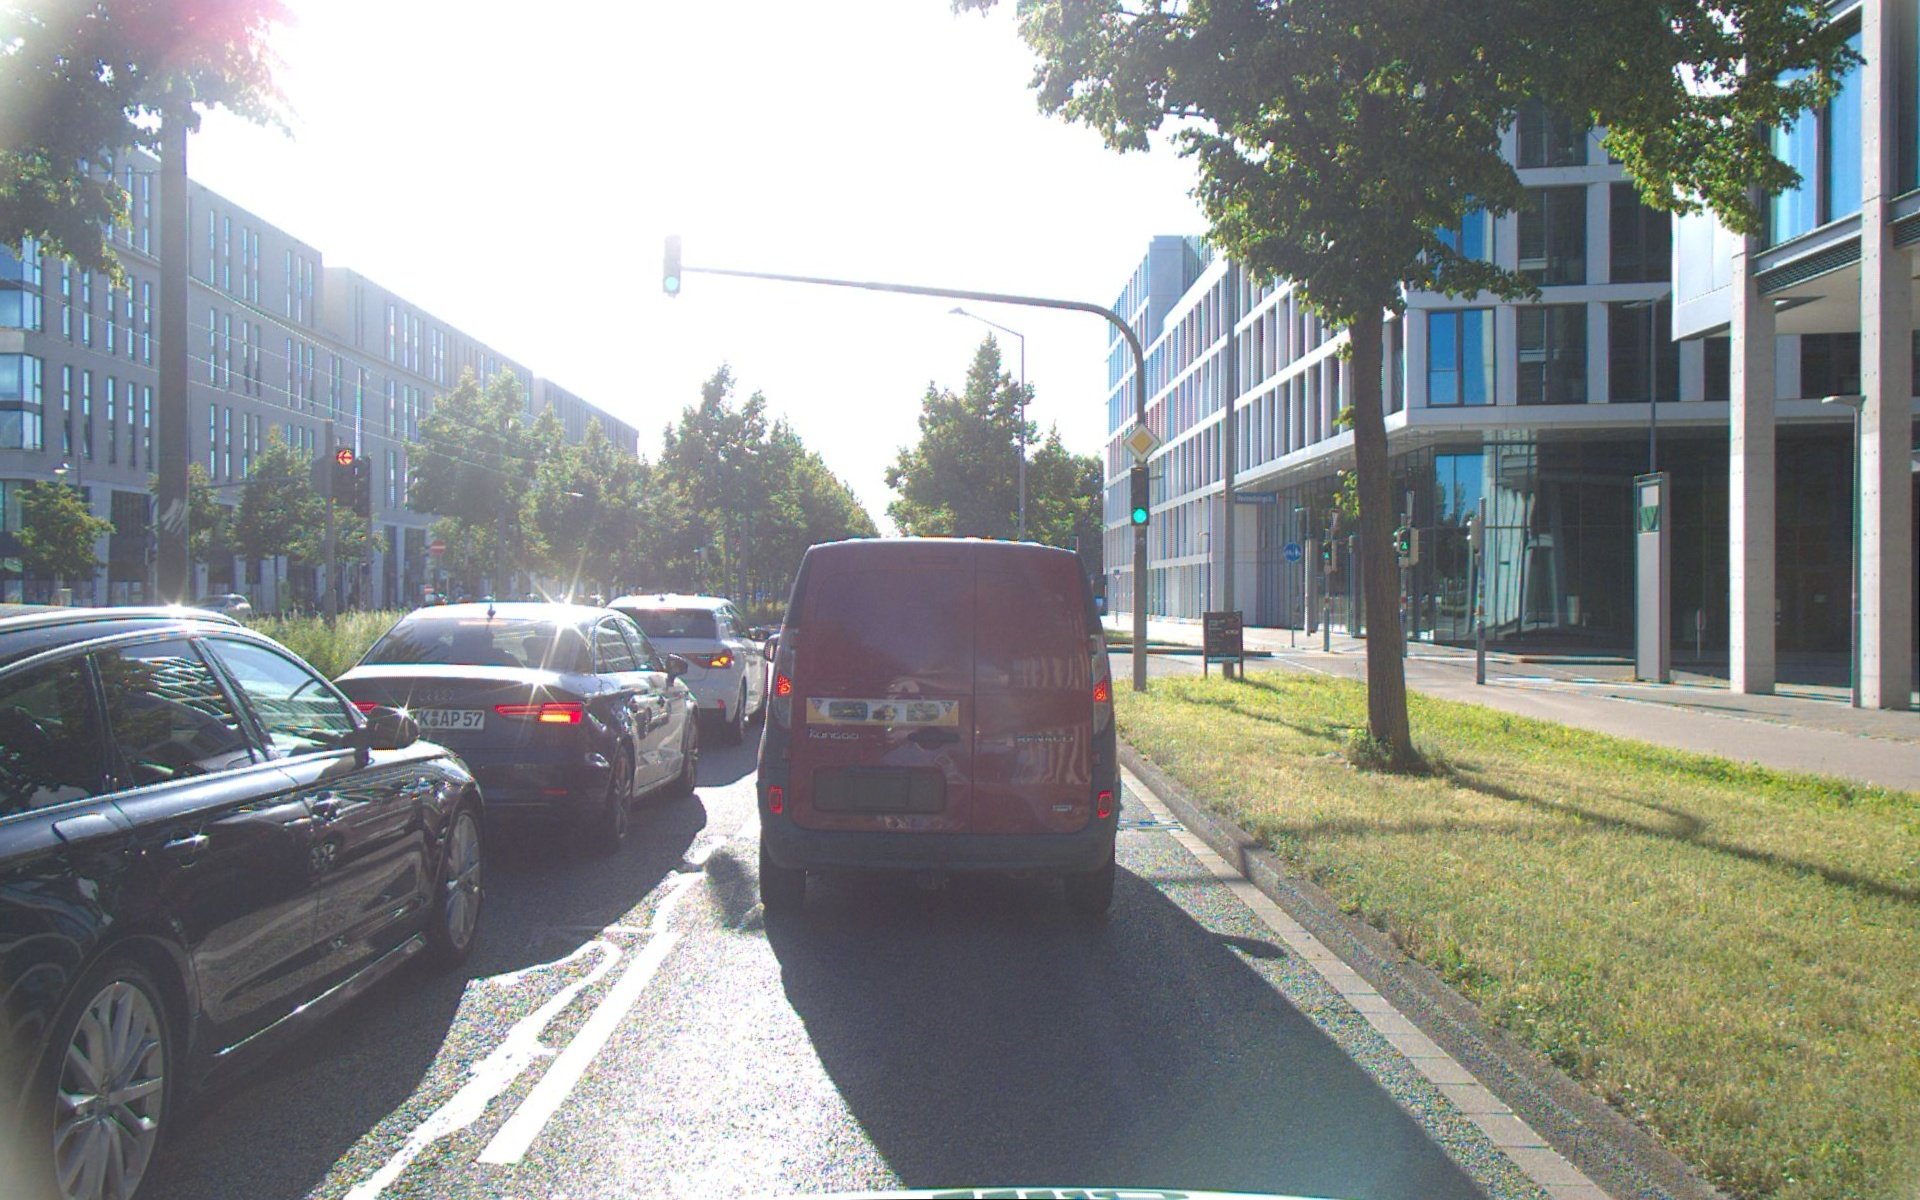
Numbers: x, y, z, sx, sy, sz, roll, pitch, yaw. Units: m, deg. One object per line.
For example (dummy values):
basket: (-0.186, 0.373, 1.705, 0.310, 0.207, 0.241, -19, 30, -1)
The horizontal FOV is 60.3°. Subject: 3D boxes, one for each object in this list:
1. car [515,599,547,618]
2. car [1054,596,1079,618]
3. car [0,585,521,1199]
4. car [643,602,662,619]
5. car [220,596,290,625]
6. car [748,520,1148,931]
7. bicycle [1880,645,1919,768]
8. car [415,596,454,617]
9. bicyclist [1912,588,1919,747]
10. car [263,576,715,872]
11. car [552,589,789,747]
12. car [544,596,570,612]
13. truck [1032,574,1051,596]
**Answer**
car: (-35.252, 0.696, 135.993, 1.740, 1.555, 3.805, 0, 0, -1)
car: (8.210, 0.529, 127.981, 1.722, 1.640, 3.903, 0, 0, 0)
car: (-2.734, 0.701, 4.822, 1.771, 1.482, 4.507, 0, 0, -1)
car: (-36.797, 1.253, 198.016, 1.694, 2.049, 3.998, 0, 0, -3)
car: (-33.800, 0.478, 79.373, 1.548, 1.366, 4.470, 0, 0, -1)
car: (-0.054, 0.548, 9.414, 1.771, 1.825, 4.113, 0, 0, 0)
bicycle: (9.812, 1.042, 15.944, 0.726, 1.194, 1.961, -2, -1, -1)
car: (-35.036, 0.430, 110.352, 1.548, 1.366, 3.711, 0, 0, -1)
bicyclist: (9.804, 0.660, 15.944, 0.756, 1.558, 0.849, 0, 0, -1)
car: (-2.781, 0.642, 10.762, 1.771, 1.554, 4.113, 0, 0, 0)
car: (-2.908, 0.623, 17.448, 1.771, 1.460, 4.113, 0, 0, 0)
car: (-36.279, 0.342, 149.008, 1.548, 1.366, 3.711, 0, 0, -1)
truck: (9.770, -1.745, 199.076, 1.794, 2.545, 5.930, 0, 0, -1)
